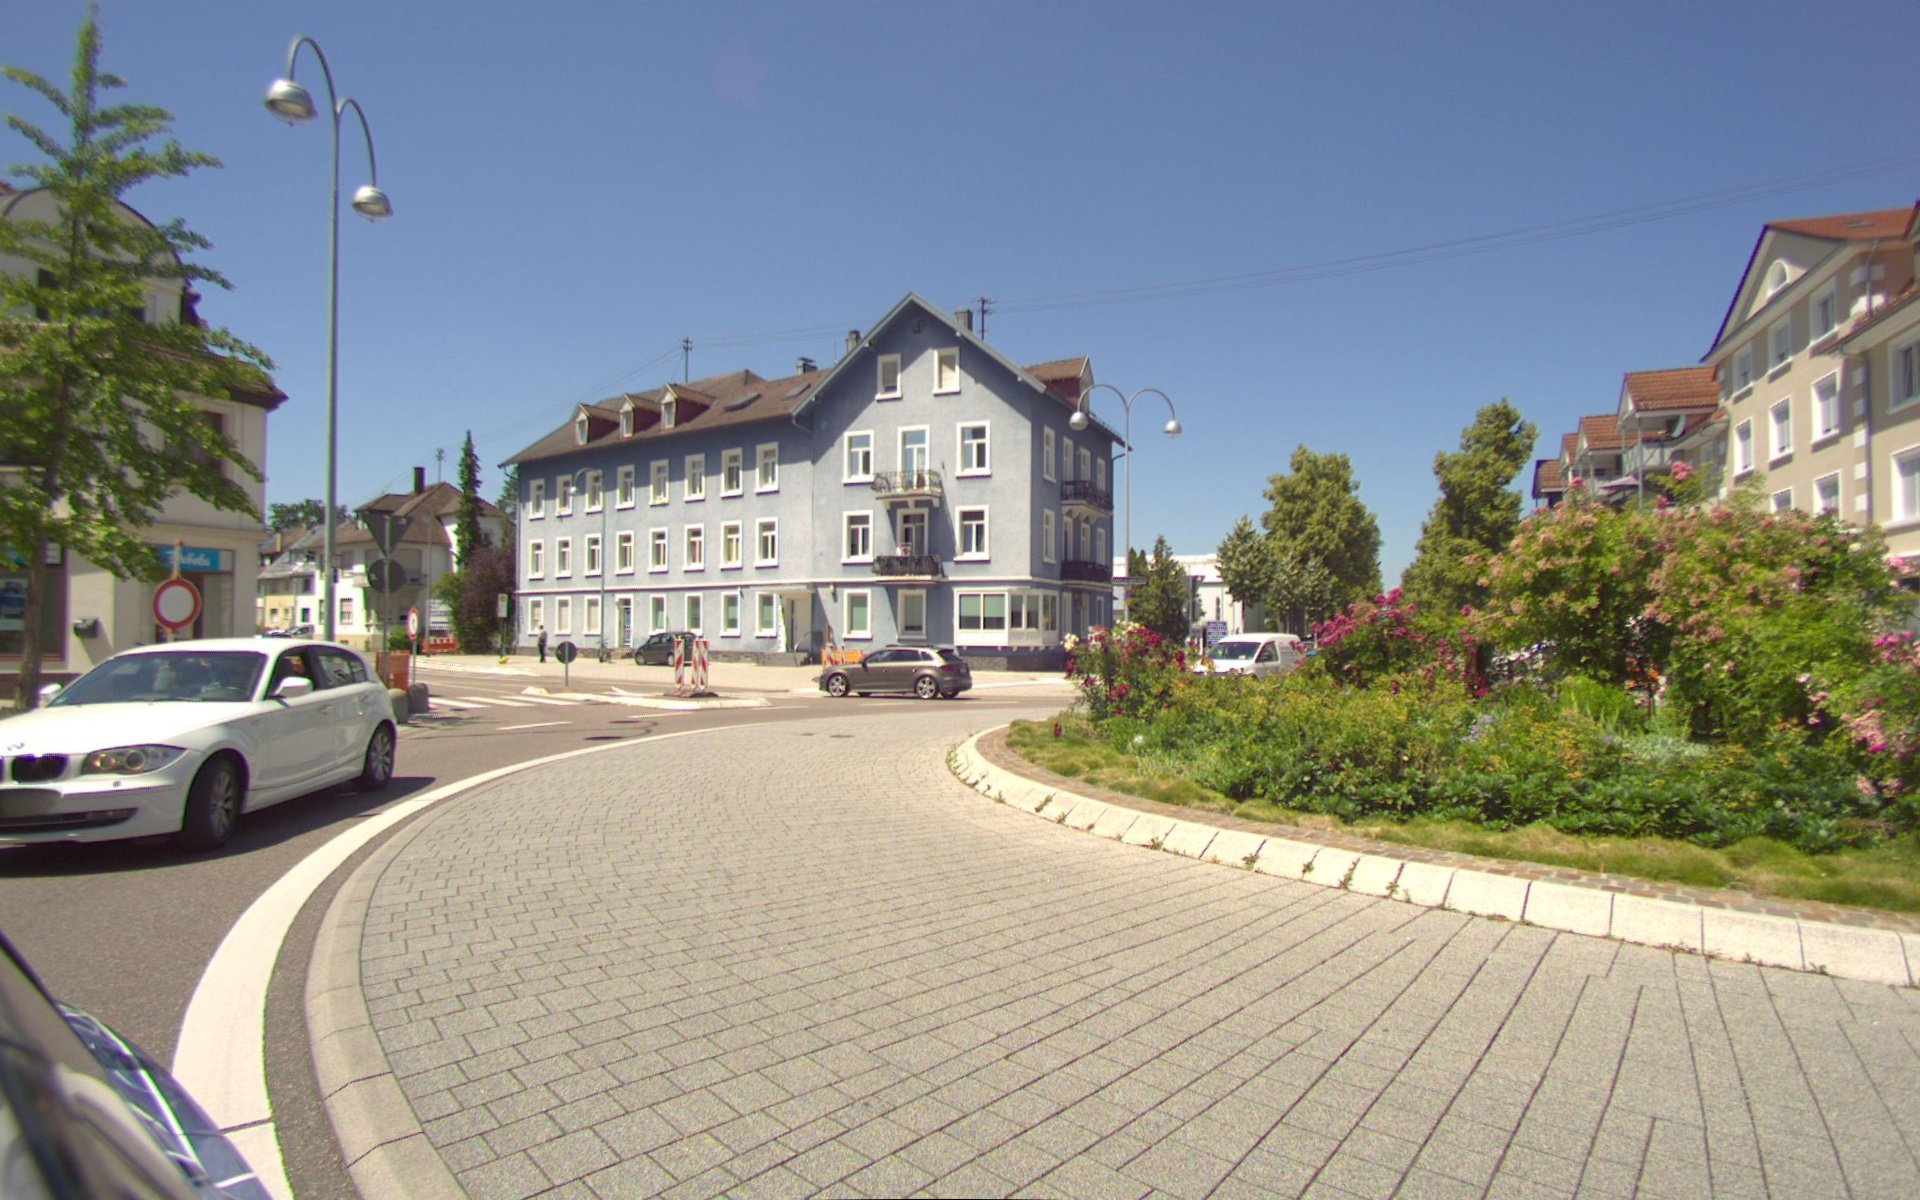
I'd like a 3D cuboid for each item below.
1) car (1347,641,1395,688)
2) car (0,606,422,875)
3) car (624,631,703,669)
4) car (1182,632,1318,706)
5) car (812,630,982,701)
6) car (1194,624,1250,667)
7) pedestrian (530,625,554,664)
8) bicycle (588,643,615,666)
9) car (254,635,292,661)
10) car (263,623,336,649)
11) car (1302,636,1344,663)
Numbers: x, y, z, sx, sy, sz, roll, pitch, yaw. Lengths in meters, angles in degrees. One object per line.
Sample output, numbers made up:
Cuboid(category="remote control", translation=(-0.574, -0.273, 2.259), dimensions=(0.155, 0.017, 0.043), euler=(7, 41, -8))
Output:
Cuboid(category="car", translation=(20.228, 3.118, 49.729), dimensions=(1.989, 2.029, 3.966), euler=(-1, -1, 25))
Cuboid(category="car", translation=(-5.988, 0.889, 7.943), dimensions=(1.759, 1.563, 4.135), euler=(0, -2, -7))
Cuboid(category="car", translation=(-13.450, 2.241, 45.774), dimensions=(3.771, 1.546, 1.562), euler=(1, -1, 39))
Cuboid(category="car", translation=(7.858, 1.781, 27.224), dimensions=(1.782, 1.791, 4.182), euler=(-1, -2, 44))
Cuboid(category="car", translation=(-1.687, 1.722, 27.208), dimensions=(4.213, 1.791, 1.768), euler=(-1, -4, 21))
Cuboid(category="car", translation=(11.598, 1.965, 44.671), dimensions=(1.770, 1.791, 4.209), euler=(-1, -2, 23))
Cuboid(category="pedestrian", translation=(-20.597, 2.180, 49.854), dimensions=(0.771, 1.862, 0.748), euler=(-2, 1, 38))
Cuboid(category="bicycle", translation=(-17.059, 2.573, 48.135), dimensions=(0.490, 0.984, 1.976), euler=(-4, 2, -40))
Cuboid(category="car", translation=(-43.933, 3.073, 64.790), dimensions=(1.636, 1.463, 4.035), euler=(4, -3, -29))
Cuboid(category="car", translation=(-51.546, 2.868, 79.050), dimensions=(1.844, 1.891, 4.318), euler=(-1, -4, 32))
Cuboid(category="car", translation=(23.893, 3.246, 66.554), dimensions=(2.271, 1.705, 4.093), euler=(0, -2, 24))
